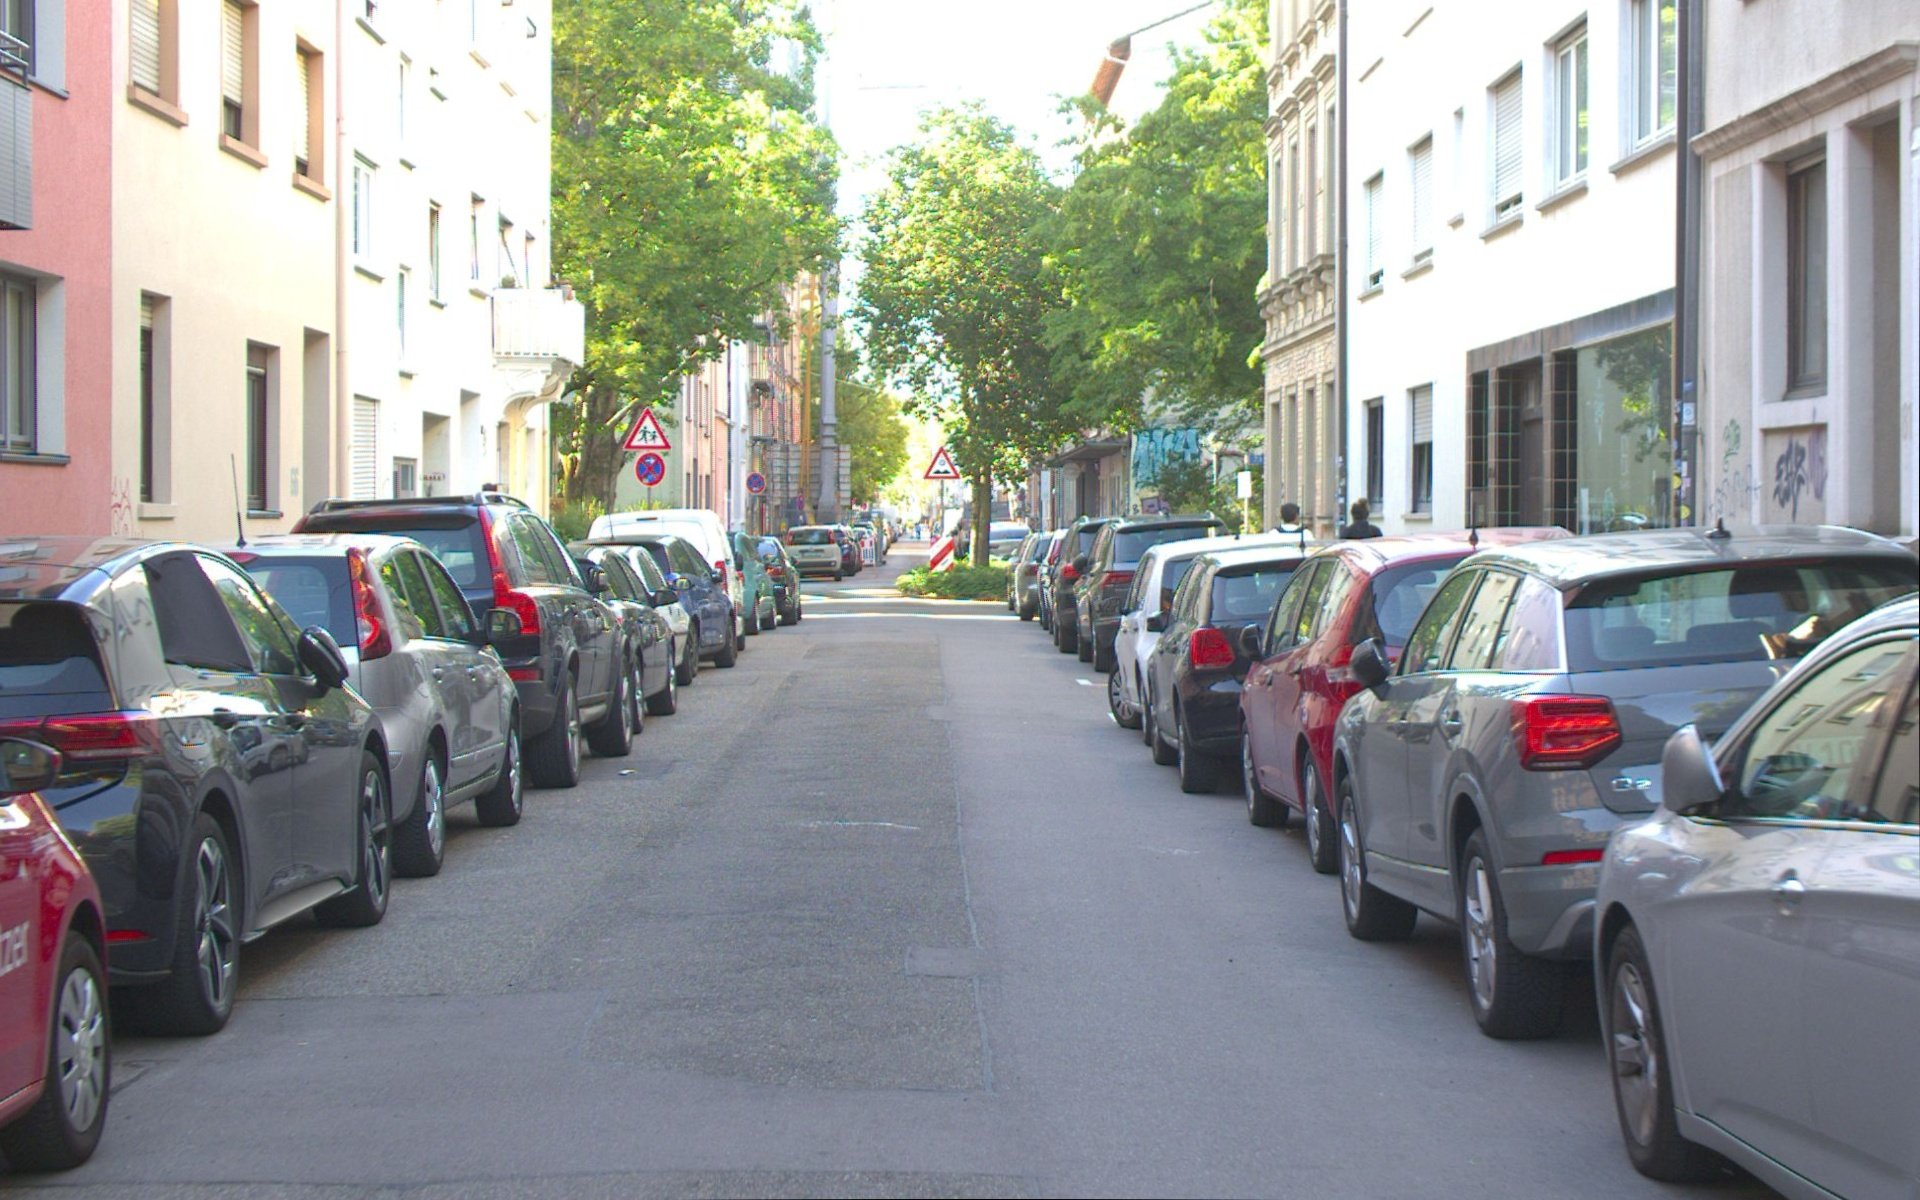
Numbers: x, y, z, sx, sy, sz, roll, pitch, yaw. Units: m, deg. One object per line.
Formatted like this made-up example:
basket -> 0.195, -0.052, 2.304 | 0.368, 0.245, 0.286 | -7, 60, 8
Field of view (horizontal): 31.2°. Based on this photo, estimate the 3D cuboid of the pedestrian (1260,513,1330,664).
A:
pedestrian -> 3.711, -0.134, 38.162 | 0.685, 1.654, 0.717 | -1, 1, -1

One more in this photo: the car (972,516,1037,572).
car -> 1.240, -1.601, 96.785 | 1.676, 1.482, 3.638 | -2, 2, -1

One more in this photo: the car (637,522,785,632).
car -> -3.587, -0.367, 50.130 | 1.670, 1.464, 3.820 | -2, 2, 3

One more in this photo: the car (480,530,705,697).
car -> -3.386, 0.073, 32.331 | 1.673, 1.383, 4.182 | -2, 2, -1

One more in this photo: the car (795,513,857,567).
car -> -3.906, -1.777, 100.572 | 1.676, 1.482, 4.095 | -2, 2, -1

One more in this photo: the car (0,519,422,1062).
car -> -3.096, 0.518, 11.905 | 1.695, 1.516, 4.096 | -2, 2, 1

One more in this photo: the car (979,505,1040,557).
car -> 1.463, -2.085, 103.200 | 1.676, 1.482, 3.638 | -2, 2, -1

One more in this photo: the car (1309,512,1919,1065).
car -> 2.328, 0.483, 11.764 | 1.744, 1.501, 4.021 | -2, 2, -1

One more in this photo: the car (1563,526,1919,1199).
car -> 2.469, 0.625, 6.583 | 1.744, 1.501, 4.358 | -2, 2, -1

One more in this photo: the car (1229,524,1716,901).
car -> 2.313, 0.426, 16.506 | 1.598, 1.501, 4.185 | -2, 2, -1

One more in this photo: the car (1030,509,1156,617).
car -> 2.009, -0.599, 52.892 | 1.676, 1.556, 3.796 | -2, 2, -1

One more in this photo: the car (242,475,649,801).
car -> -3.146, 0.148, 21.939 | 1.743, 1.805, 4.672 | -2, 2, 1

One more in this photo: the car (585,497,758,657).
car -> -3.422, -0.324, 41.393 | 1.765, 1.779, 4.040 | -2, 2, -1

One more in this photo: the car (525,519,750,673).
car -> -3.381, -0.086, 36.722 | 1.674, 1.481, 3.991 | -2, 2, 5

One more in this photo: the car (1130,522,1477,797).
car -> 2.068, 0.294, 21.667 | 1.676, 1.501, 3.938 | -2, 2, -1

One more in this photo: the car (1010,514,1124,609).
car -> 1.762, -0.673, 57.796 | 1.676, 1.482, 4.095 | -2, 2, -1

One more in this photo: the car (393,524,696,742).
car -> -3.208, 0.194, 27.303 | 1.743, 1.501, 4.346 | -2, 2, 1

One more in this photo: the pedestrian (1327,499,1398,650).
pedestrian -> 4.469, -0.291, 38.232 | 0.685, 1.654, 0.717 | -1, 1, -1

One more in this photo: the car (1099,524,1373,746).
car -> 2.040, 0.206, 26.392 | 1.676, 1.501, 3.938 | -2, 2, -1

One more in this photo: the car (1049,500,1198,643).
car -> 2.019, -0.370, 43.376 | 1.676, 1.676, 4.095 | -2, 1, 1

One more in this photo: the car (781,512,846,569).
car -> -4.039, -1.660, 95.386 | 1.676, 1.482, 4.095 | -2, 2, -1

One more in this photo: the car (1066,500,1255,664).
car -> 2.183, -0.243, 38.422 | 1.676, 1.621, 4.251 | -4, 1, -1

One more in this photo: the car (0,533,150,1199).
car -> -2.886, 0.644, 7.014 | 1.628, 1.476, 3.601 | -2, 2, -1

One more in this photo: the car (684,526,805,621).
car -> -3.363, -0.445, 54.339 | 1.670, 1.356, 4.049 | -2, 2, -1

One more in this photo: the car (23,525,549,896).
car -> -3.132, 0.435, 16.743 | 1.656, 1.516, 3.944 | -2, 2, 1
